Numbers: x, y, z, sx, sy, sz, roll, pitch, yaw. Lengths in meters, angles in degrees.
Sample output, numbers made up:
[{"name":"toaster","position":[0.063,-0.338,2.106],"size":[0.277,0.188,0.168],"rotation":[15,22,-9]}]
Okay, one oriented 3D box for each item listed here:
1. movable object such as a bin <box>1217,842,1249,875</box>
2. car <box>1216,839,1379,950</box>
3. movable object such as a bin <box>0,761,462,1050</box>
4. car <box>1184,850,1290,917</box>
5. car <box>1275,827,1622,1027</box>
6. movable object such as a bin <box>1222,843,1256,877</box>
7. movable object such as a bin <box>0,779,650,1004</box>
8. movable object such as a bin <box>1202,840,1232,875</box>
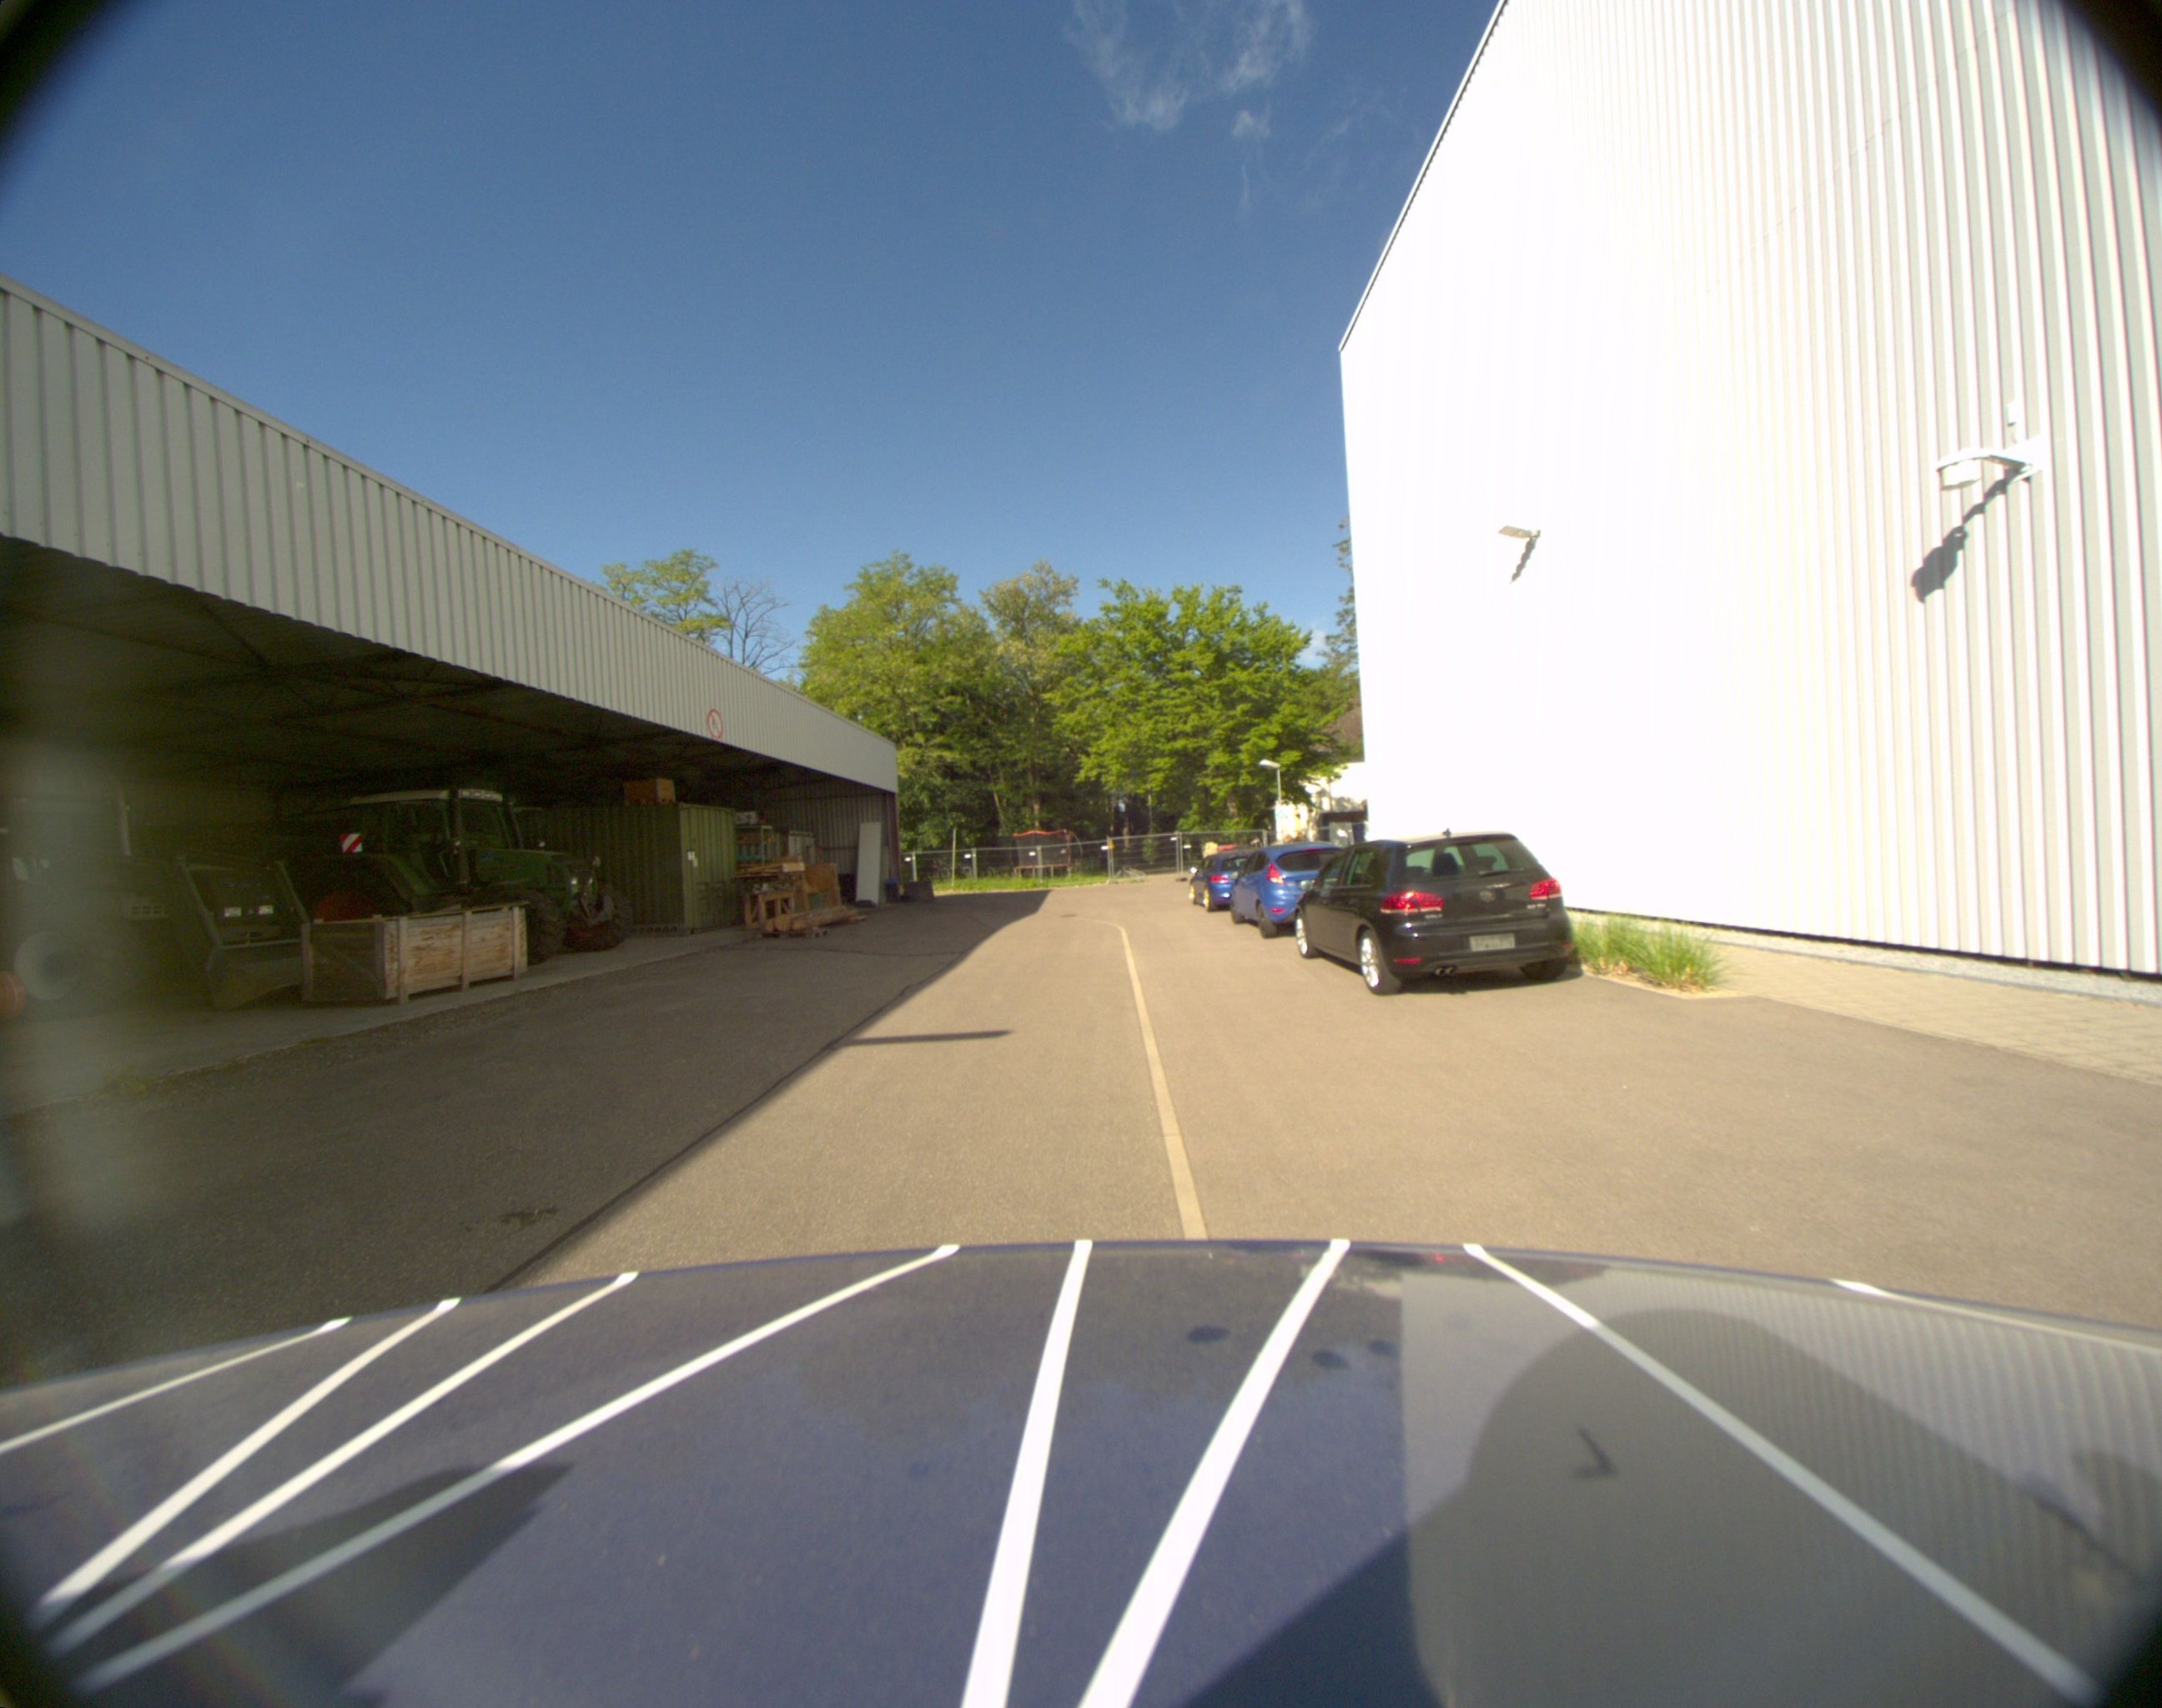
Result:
[{"name":"movable object such as a bin","position":[7.116,0.212,35.581],"size":[1.093,1.431,1.230],"rotation":[-5,1,-4]},{"name":"car","position":[3.601,0.597,13.403],"size":[1.634,1.491,4.094],"rotation":[-6,0,1]},{"name":"movable object such as a bin","position":[-12.124,0.648,9.500],"size":[6.200,2.893,3.016],"rotation":[-3,1,3]},{"name":"car","position":[3.723,0.637,18.827],"size":[1.778,1.353,4.053],"rotation":[-4,0,1]},{"name":"car","position":[3.547,0.587,8.355],"size":[1.758,1.491,4.294],"rotation":[-5,0,2]},{"name":"movable object such as a bin","position":[7.119,0.253,34.248],"size":[1.093,1.424,1.230],"rotation":[-5,1,-4]},{"name":"movable object such as a bin","position":[-12.836,0.607,12.826],"size":[9.214,2.893,3.212],"rotation":[-3,1,3]},{"name":"movable object such as a bin","position":[6.691,0.152,37.491],"size":[1.093,1.588,1.230],"rotation":[-4,3,-4]}]
